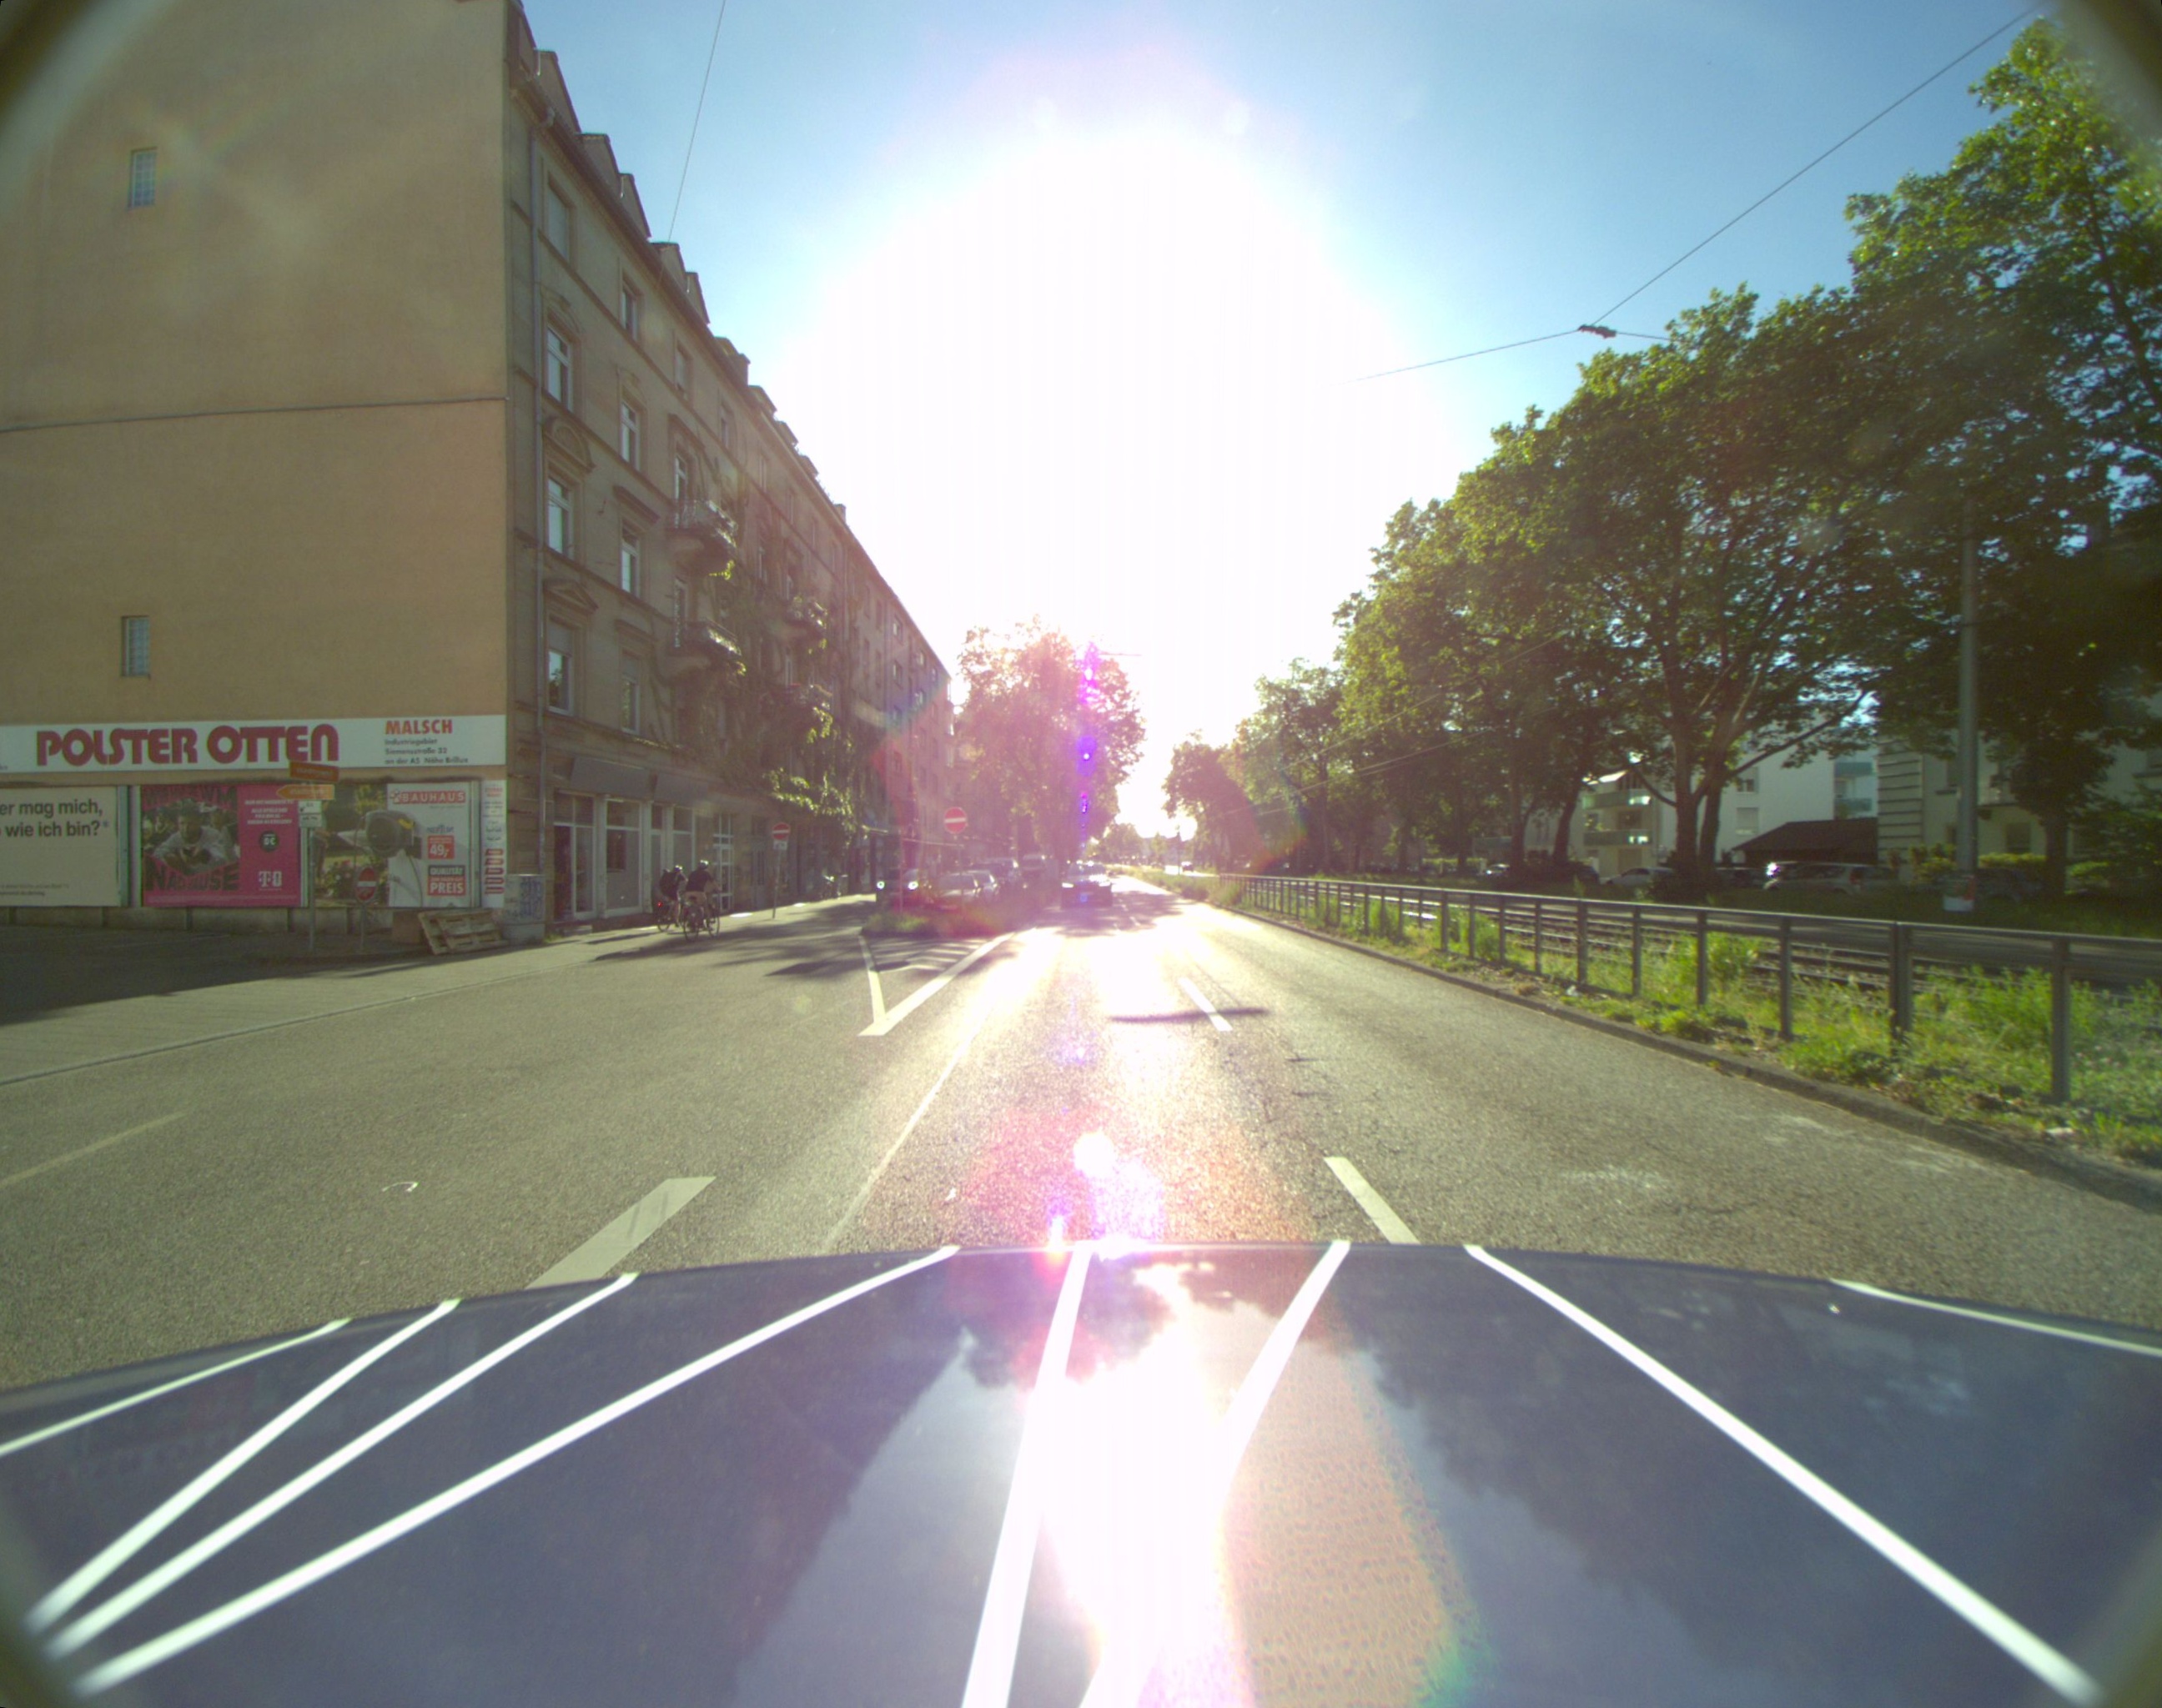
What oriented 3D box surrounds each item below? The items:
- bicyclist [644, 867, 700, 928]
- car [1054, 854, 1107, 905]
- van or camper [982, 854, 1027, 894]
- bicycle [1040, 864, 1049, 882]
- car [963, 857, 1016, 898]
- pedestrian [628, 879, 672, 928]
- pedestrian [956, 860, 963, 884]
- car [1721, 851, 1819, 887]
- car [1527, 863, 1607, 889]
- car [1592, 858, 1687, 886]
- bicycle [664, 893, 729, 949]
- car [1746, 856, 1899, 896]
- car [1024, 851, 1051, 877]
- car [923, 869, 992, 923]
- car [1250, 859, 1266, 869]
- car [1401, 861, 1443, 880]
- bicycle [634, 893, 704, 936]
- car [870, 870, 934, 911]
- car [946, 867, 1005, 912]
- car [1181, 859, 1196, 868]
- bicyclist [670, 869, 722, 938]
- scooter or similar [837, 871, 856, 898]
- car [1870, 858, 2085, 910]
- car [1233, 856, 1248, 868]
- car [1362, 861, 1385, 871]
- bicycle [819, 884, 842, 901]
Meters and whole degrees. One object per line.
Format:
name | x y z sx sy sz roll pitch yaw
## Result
bicyclist | -10.253 1.061 19.075 0.678 1.437 1.182 3 0 1
car | 0.029 0.956 30.296 1.876 1.788 4.633 -2 0 1
van or camper | -4.004 1.026 40.462 1.888 2.002 5.095 0 0 0
bicycle | -2.664 1.374 55.276 0.466 1.207 1.751 0 0 5
car | -4.116 1.035 34.936 1.869 1.753 4.000 0 0 1
pedestrian | -11.530 1.306 20.346 0.717 1.253 0.713 2 0 1
pedestrian | -9.512 1.399 59.648 0.470 1.822 0.516 0 0 1
car | 37.209 0.784 41.158 1.853 1.848 3.821 0 -1 0
car | 28.566 1.285 44.853 1.998 1.444 4.319 0 0 1
car | 28.573 0.872 39.088 1.644 1.316 4.461 2 0 1
bicycle | -8.645 1.477 17.160 0.759 1.095 1.952 0 0 -9
car | 28.355 0.789 29.286 1.739 1.432 4.319 0 0 1
car | -4.187 0.973 73.471 2.079 2.420 5.857 -1 0 1
car | -4.016 1.333 25.255 1.645 1.508 4.000 -3 0 -1
car | 28.435 1.624 121.829 1.771 1.477 3.688 0 0 1
car | 28.630 1.361 63.841 1.801 1.464 4.000 0 0 1
bicycle | -10.299 1.499 19.076 0.651 0.914 1.918 3 0 1
car | -7.631 1.523 32.756 1.702 1.518 4.380 -1 0 0
car | -4.031 1.340 29.706 1.743 1.508 4.000 -3 0 -1
car | 18.762 1.613 132.488 1.862 1.637 4.460 0 0 -1
bicyclist | -8.648 1.087 17.099 0.747 1.453 0.950 -2 0 -10
scooter or similar | -10.669 1.373 34.579 0.638 1.166 1.731 0 0 -24
car | 28.329 0.872 24.278 1.789 1.432 4.318 -2 0 0
car | 27.847 1.406 132.616 1.998 2.002 4.002 0 0 5
car | 28.436 1.163 73.926 1.109 0.871 3.060 0 0 1
bicycle | -11.006 1.694 33.386 0.469 0.701 1.513 0 0 1
